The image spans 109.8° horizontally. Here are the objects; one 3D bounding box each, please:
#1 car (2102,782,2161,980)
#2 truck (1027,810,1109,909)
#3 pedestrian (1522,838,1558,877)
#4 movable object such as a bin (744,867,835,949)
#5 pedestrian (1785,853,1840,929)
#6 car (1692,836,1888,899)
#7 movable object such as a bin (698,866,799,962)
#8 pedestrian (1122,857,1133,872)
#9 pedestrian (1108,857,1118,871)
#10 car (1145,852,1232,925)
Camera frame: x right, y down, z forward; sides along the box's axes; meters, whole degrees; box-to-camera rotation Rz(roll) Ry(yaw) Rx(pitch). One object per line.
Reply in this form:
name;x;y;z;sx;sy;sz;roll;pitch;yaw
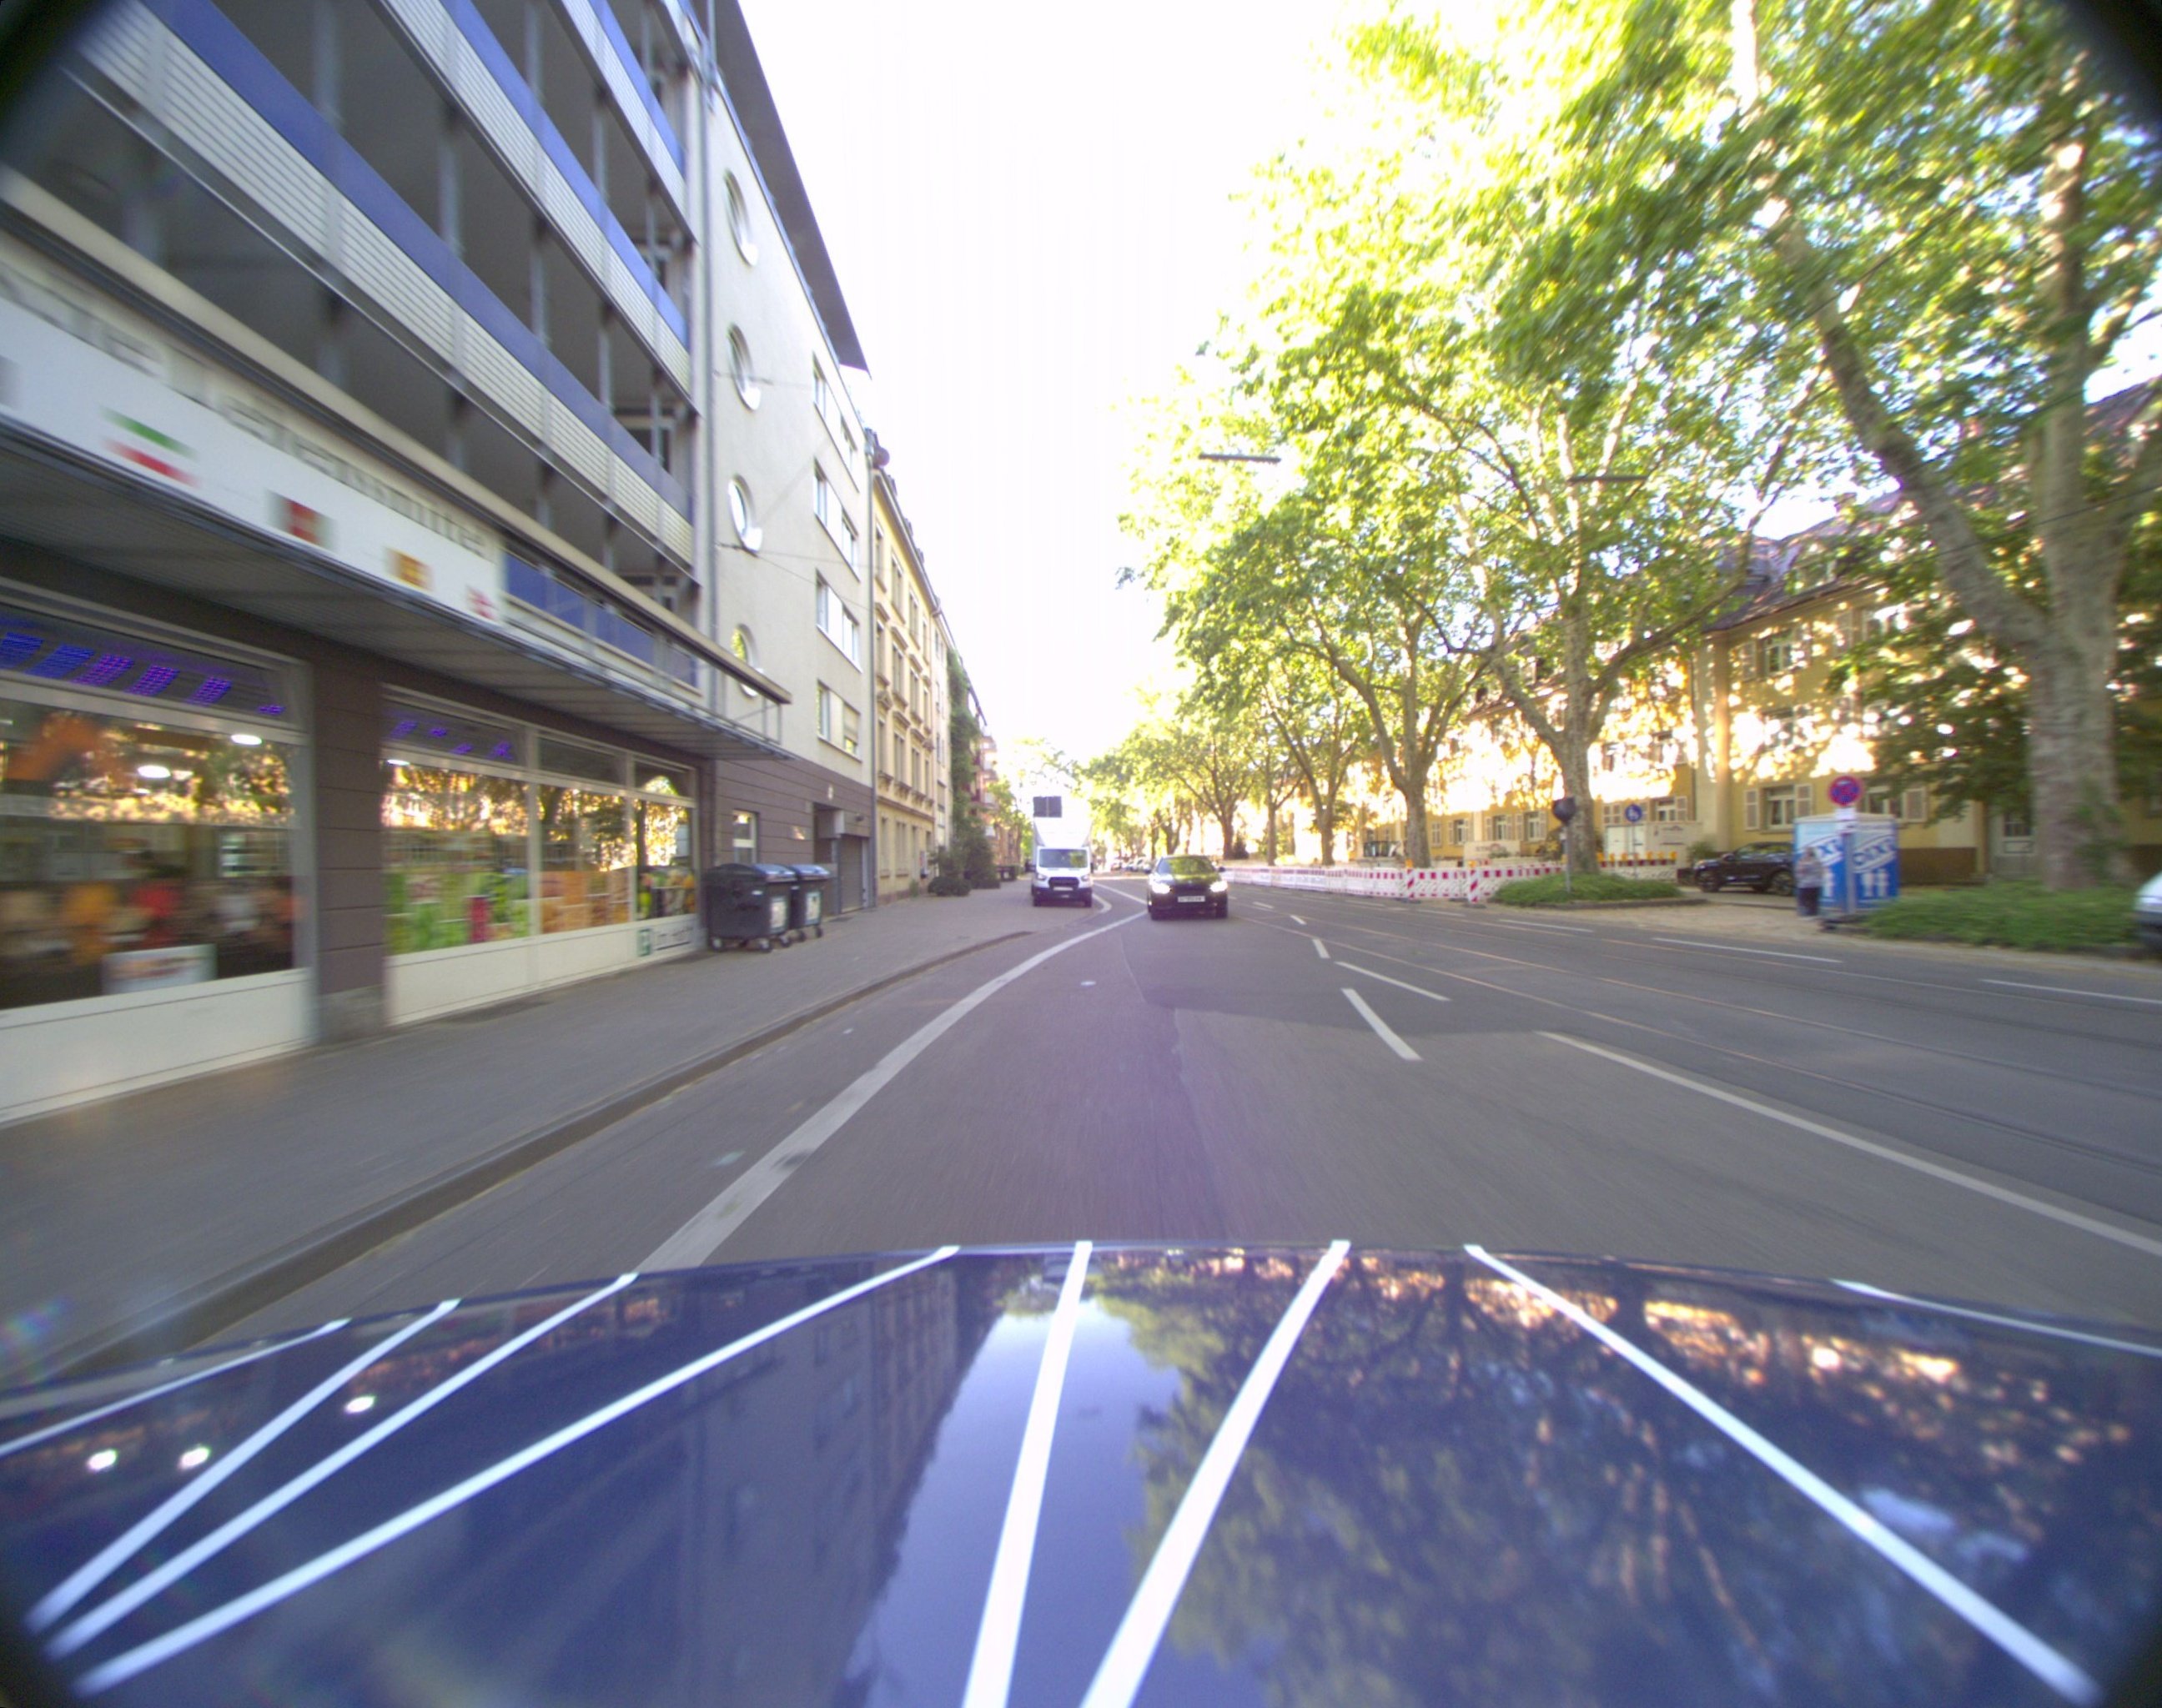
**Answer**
car;15.725;0.287;8.680;5.612;2.361;2.025;-1;0;-2
truck;-0.717;0.207;29.196;2.385;3.165;8.525;2;0;-5
pedestrian;23.944;0.176;39.683;1.098;2.002;1.235;-1;0;-5
movable object such as a bin;-5.442;0.984;14.284;1.122;1.437;1.306;-1;0;3
pedestrian;15.560;0.762;16.172;0.598;1.563;0.715;-1;0;-33
car;20.743;0.366;22.513;1.829;1.592;4.221;-3;0;0
movable object such as a bin;-5.373;0.937;12.389;1.069;1.438;1.296;-1;0;-1
pedestrian;4.978;1.093;81.291;0.889;1.533;0.946;-1;0;-22
pedestrian;3.508;1.073;82.795;0.749;1.533;0.865;-1;0;-22
car;2.835;0.864;20.938;1.942;1.733;4.476;-2;0;3
